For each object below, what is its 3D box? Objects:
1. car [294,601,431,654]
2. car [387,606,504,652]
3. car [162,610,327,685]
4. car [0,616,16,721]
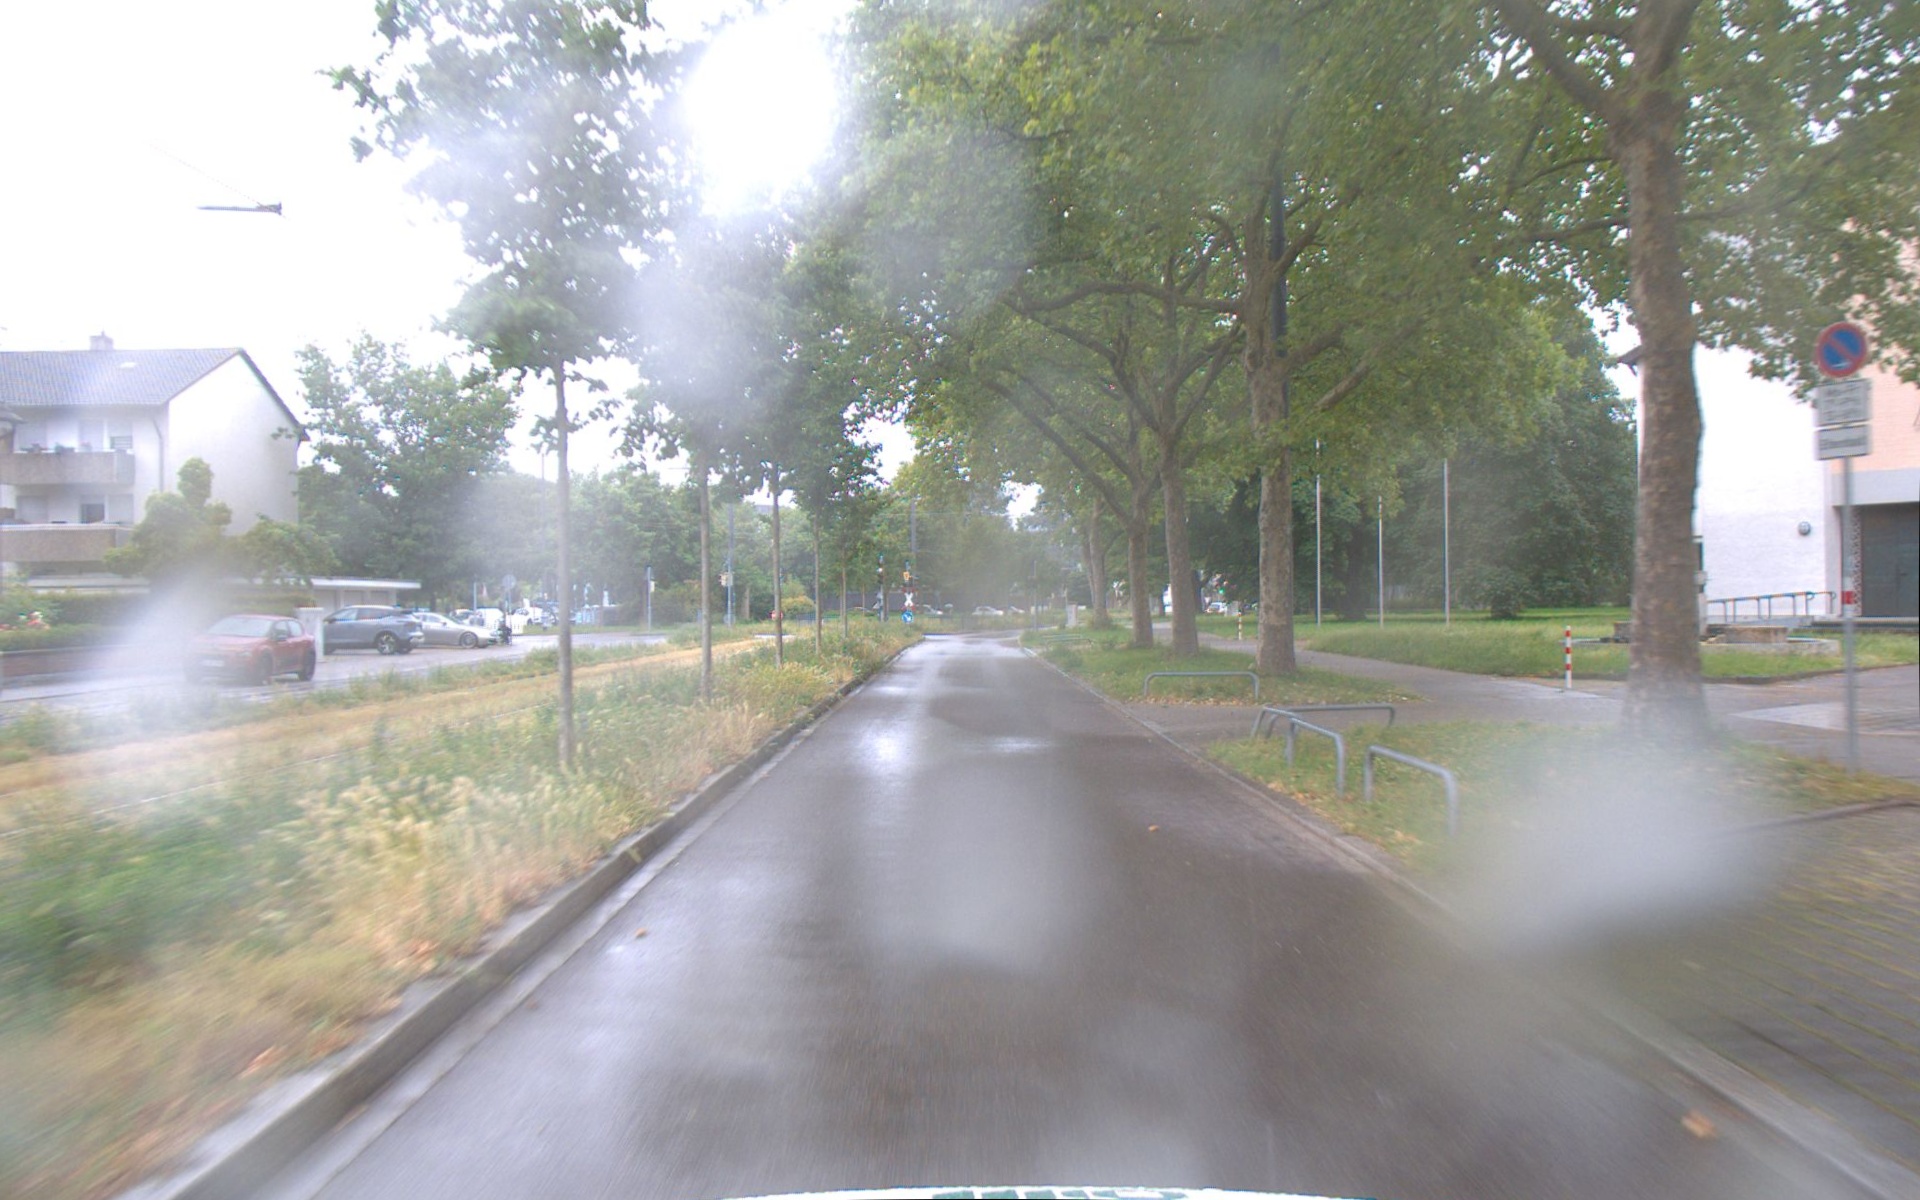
[{"bbox_3d":[-20.191,0.913,56.056,3.908,1.645,1.999,-2,0,-3],"label":"car"},{"bbox_3d":[-19.929,1.114,64.228,3.908,1.645,1.999,-2,0,-3],"label":"car"},{"bbox_3d":[-16.063,1.022,37.381,1.953,1.514,4.204,1,0,-1],"label":"car"},{"bbox_3d":[-15.798,1.055,23.635,1.952,1.608,4.517,1,0,1],"label":"car"}]
